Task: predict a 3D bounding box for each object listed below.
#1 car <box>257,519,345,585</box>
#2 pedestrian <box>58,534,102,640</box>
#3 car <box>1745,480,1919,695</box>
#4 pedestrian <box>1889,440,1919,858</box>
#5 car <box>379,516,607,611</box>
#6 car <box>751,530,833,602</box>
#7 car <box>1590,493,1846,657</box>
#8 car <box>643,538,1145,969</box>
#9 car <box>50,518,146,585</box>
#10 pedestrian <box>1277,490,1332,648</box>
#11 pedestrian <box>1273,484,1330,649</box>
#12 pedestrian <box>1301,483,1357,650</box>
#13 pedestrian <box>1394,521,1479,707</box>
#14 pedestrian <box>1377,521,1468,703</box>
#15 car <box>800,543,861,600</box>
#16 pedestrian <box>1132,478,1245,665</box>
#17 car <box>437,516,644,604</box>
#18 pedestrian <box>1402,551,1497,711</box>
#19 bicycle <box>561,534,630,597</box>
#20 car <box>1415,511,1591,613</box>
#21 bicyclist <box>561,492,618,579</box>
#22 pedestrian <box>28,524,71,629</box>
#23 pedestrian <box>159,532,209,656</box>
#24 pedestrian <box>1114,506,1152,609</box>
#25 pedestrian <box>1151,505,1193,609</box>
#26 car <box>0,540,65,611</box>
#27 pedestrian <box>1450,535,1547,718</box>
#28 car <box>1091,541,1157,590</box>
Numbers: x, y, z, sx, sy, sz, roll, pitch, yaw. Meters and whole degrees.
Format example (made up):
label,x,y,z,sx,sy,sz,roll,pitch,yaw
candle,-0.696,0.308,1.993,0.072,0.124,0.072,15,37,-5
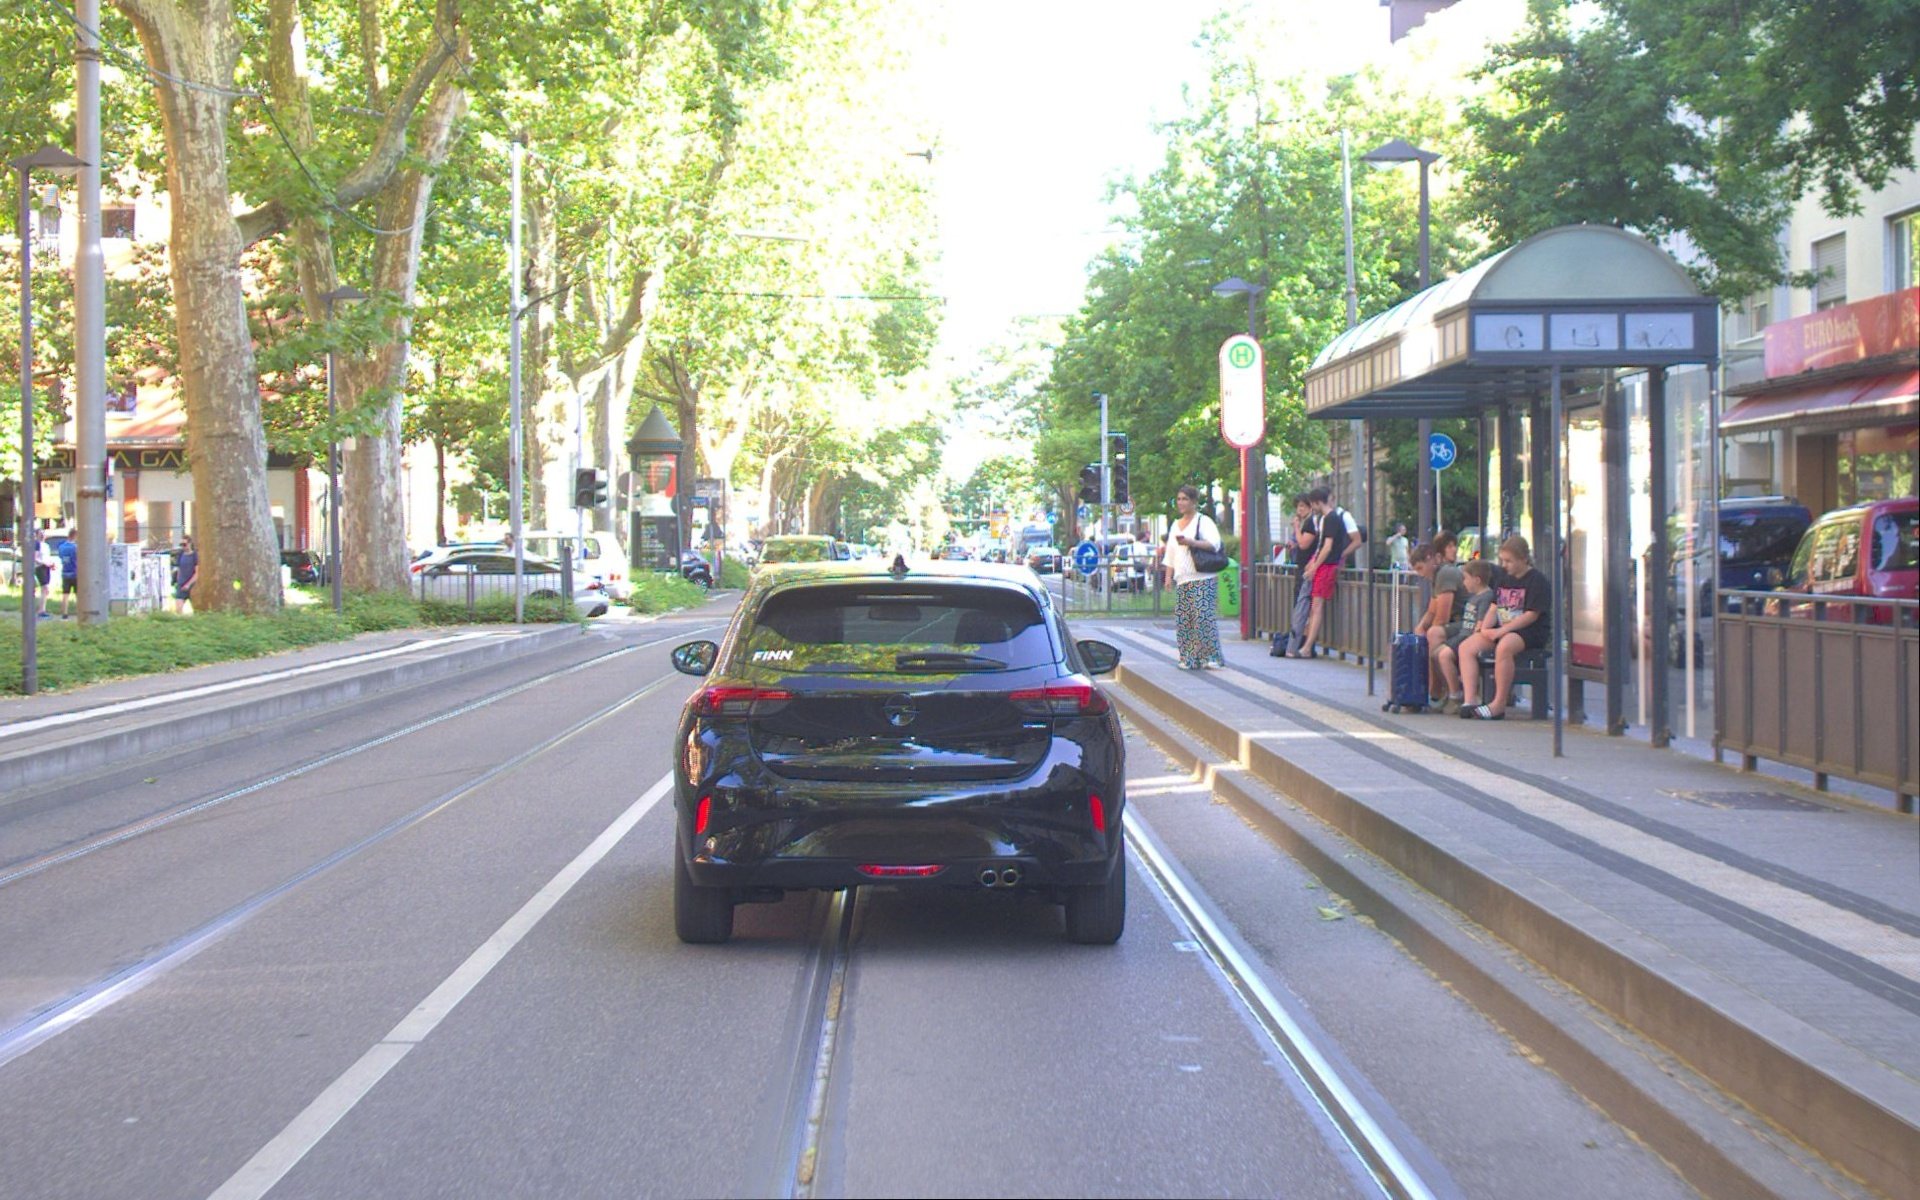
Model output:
label,x,y,z,sx,sy,sz,roll,pitch,yaw
car,-20.511,-1.487,107.116,1.993,2.007,4.000,0,1,-1
pedestrian,-16.339,-0.247,63.812,0.672,1.943,0.498,1,1,-4
car,9.096,-0.127,33.222,1.993,1.946,4.000,0,1,-1
pedestrian,3.937,0.193,12.847,0.630,1.571,0.871,2,1,-1
car,-8.642,-0.671,63.698,4.113,1.695,1.884,0,1,-8
car,-3.684,-0.753,75.805,1.745,1.539,4.000,0,1,-2
car,8.745,-0.298,40.002,1.993,1.791,4.000,0,1,-1
car,-0.321,0.523,14.035,1.759,1.503,3.683,-1,1,-3
car,-26.601,-1.500,106.243,1.993,2.007,4.000,0,1,-1
pedestrian,3.734,-0.335,37.295,0.531,1.703,0.596,0,0,2
pedestrian,3.573,-0.349,35.975,0.531,1.703,0.752,0,0,2
pedestrian,3.921,-0.353,36.574,0.531,1.757,0.661,0,0,2
pedestrian,3.367,0.098,24.305,0.502,1.300,0.429,0,0,-5
pedestrian,3.340,0.084,24.864,0.534,1.300,0.551,0,0,-5
car,-3.954,-0.866,104.779,1.785,1.687,4.000,0,1,-2
pedestrian,2.125,-0.264,31.892,0.751,1.703,0.762,1,1,34
car,-9.091,-0.868,74.460,4.383,1.845,2.000,0,1,-8
pedestrian,3.385,0.211,23.804,0.534,1.096,0.551,0,0,-5
bicycle,-7.286,-0.692,68.867,0.955,1.236,2.977,0,1,2
car,8.209,-0.580,52.265,1.993,1.481,4.000,0,1,-1
bicyclist,-7.321,-1.278,67.965,0.941,1.697,1.153,0,0,2
pedestrian,-17.125,-0.446,64.670,0.672,1.943,0.498,1,1,-4
pedestrian,-12.227,-0.096,54.154,0.672,1.943,0.498,0,0,-1
pedestrian,3.412,-0.839,67.770,0.675,2.007,0.701,2,1,5
pedestrian,4.153,-0.854,67.399,0.675,2.007,0.701,2,1,11
car,-28.066,-0.728,98.685,4.249,2.007,2.000,0,0,-1
pedestrian,3.641,0.176,23.285,0.534,1.226,0.510,0,0,-5
car,5.559,-1.167,116.686,1.993,1.627,4.000,0,1,-1
